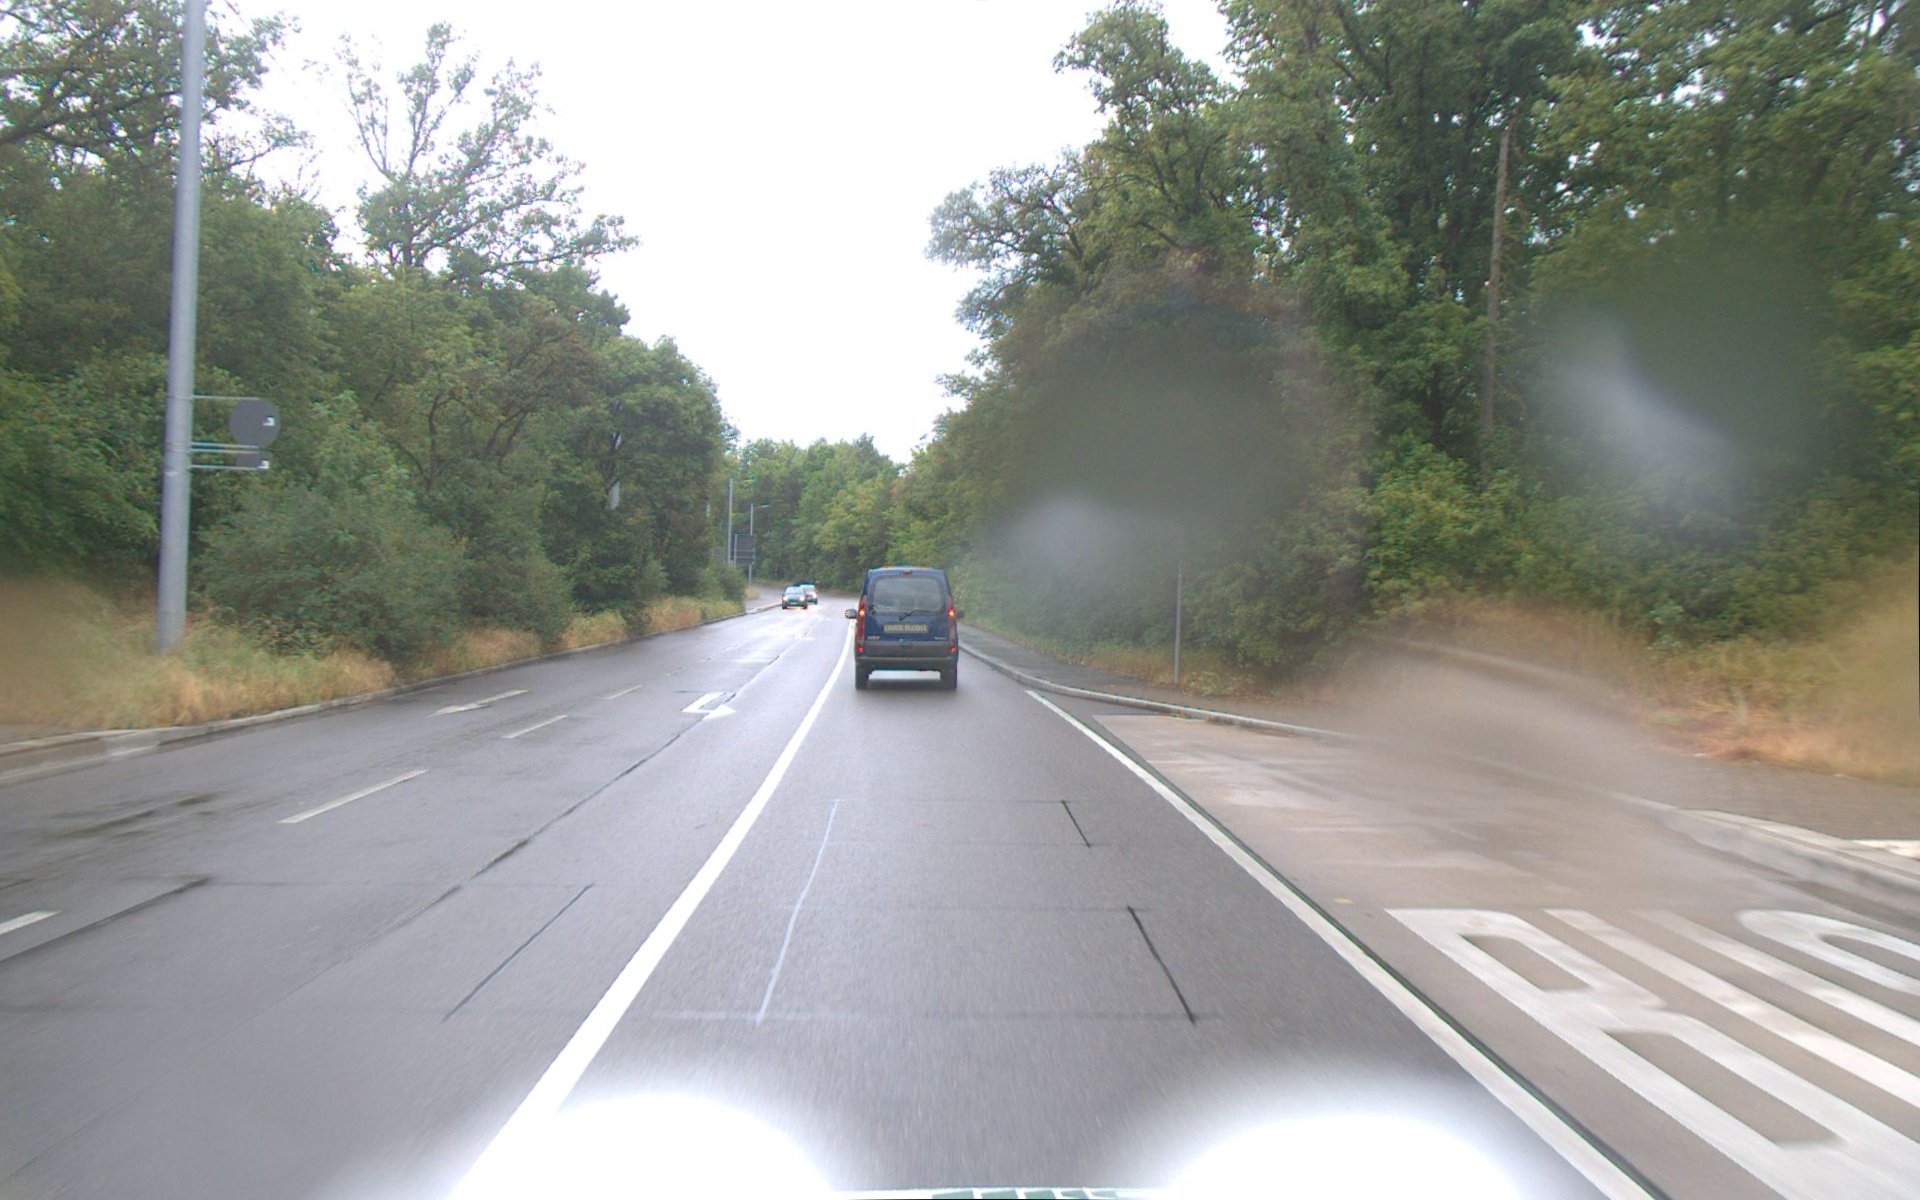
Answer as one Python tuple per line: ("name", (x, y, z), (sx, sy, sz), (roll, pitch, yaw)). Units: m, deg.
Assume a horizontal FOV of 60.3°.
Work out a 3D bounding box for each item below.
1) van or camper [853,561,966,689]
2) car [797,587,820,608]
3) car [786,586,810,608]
("van or camper", (-0.807, 0.333, 26.623), (1.678, 1.857, 3.999), (0, 2, -2))
("car", (-12.558, -0.213, 137.570), (1.736, 1.638, 4.081), (1, 0, -3))
("car", (-11.104, -0.222, 113.573), (1.567, 1.466, 3.987), (0, 0, -4))
